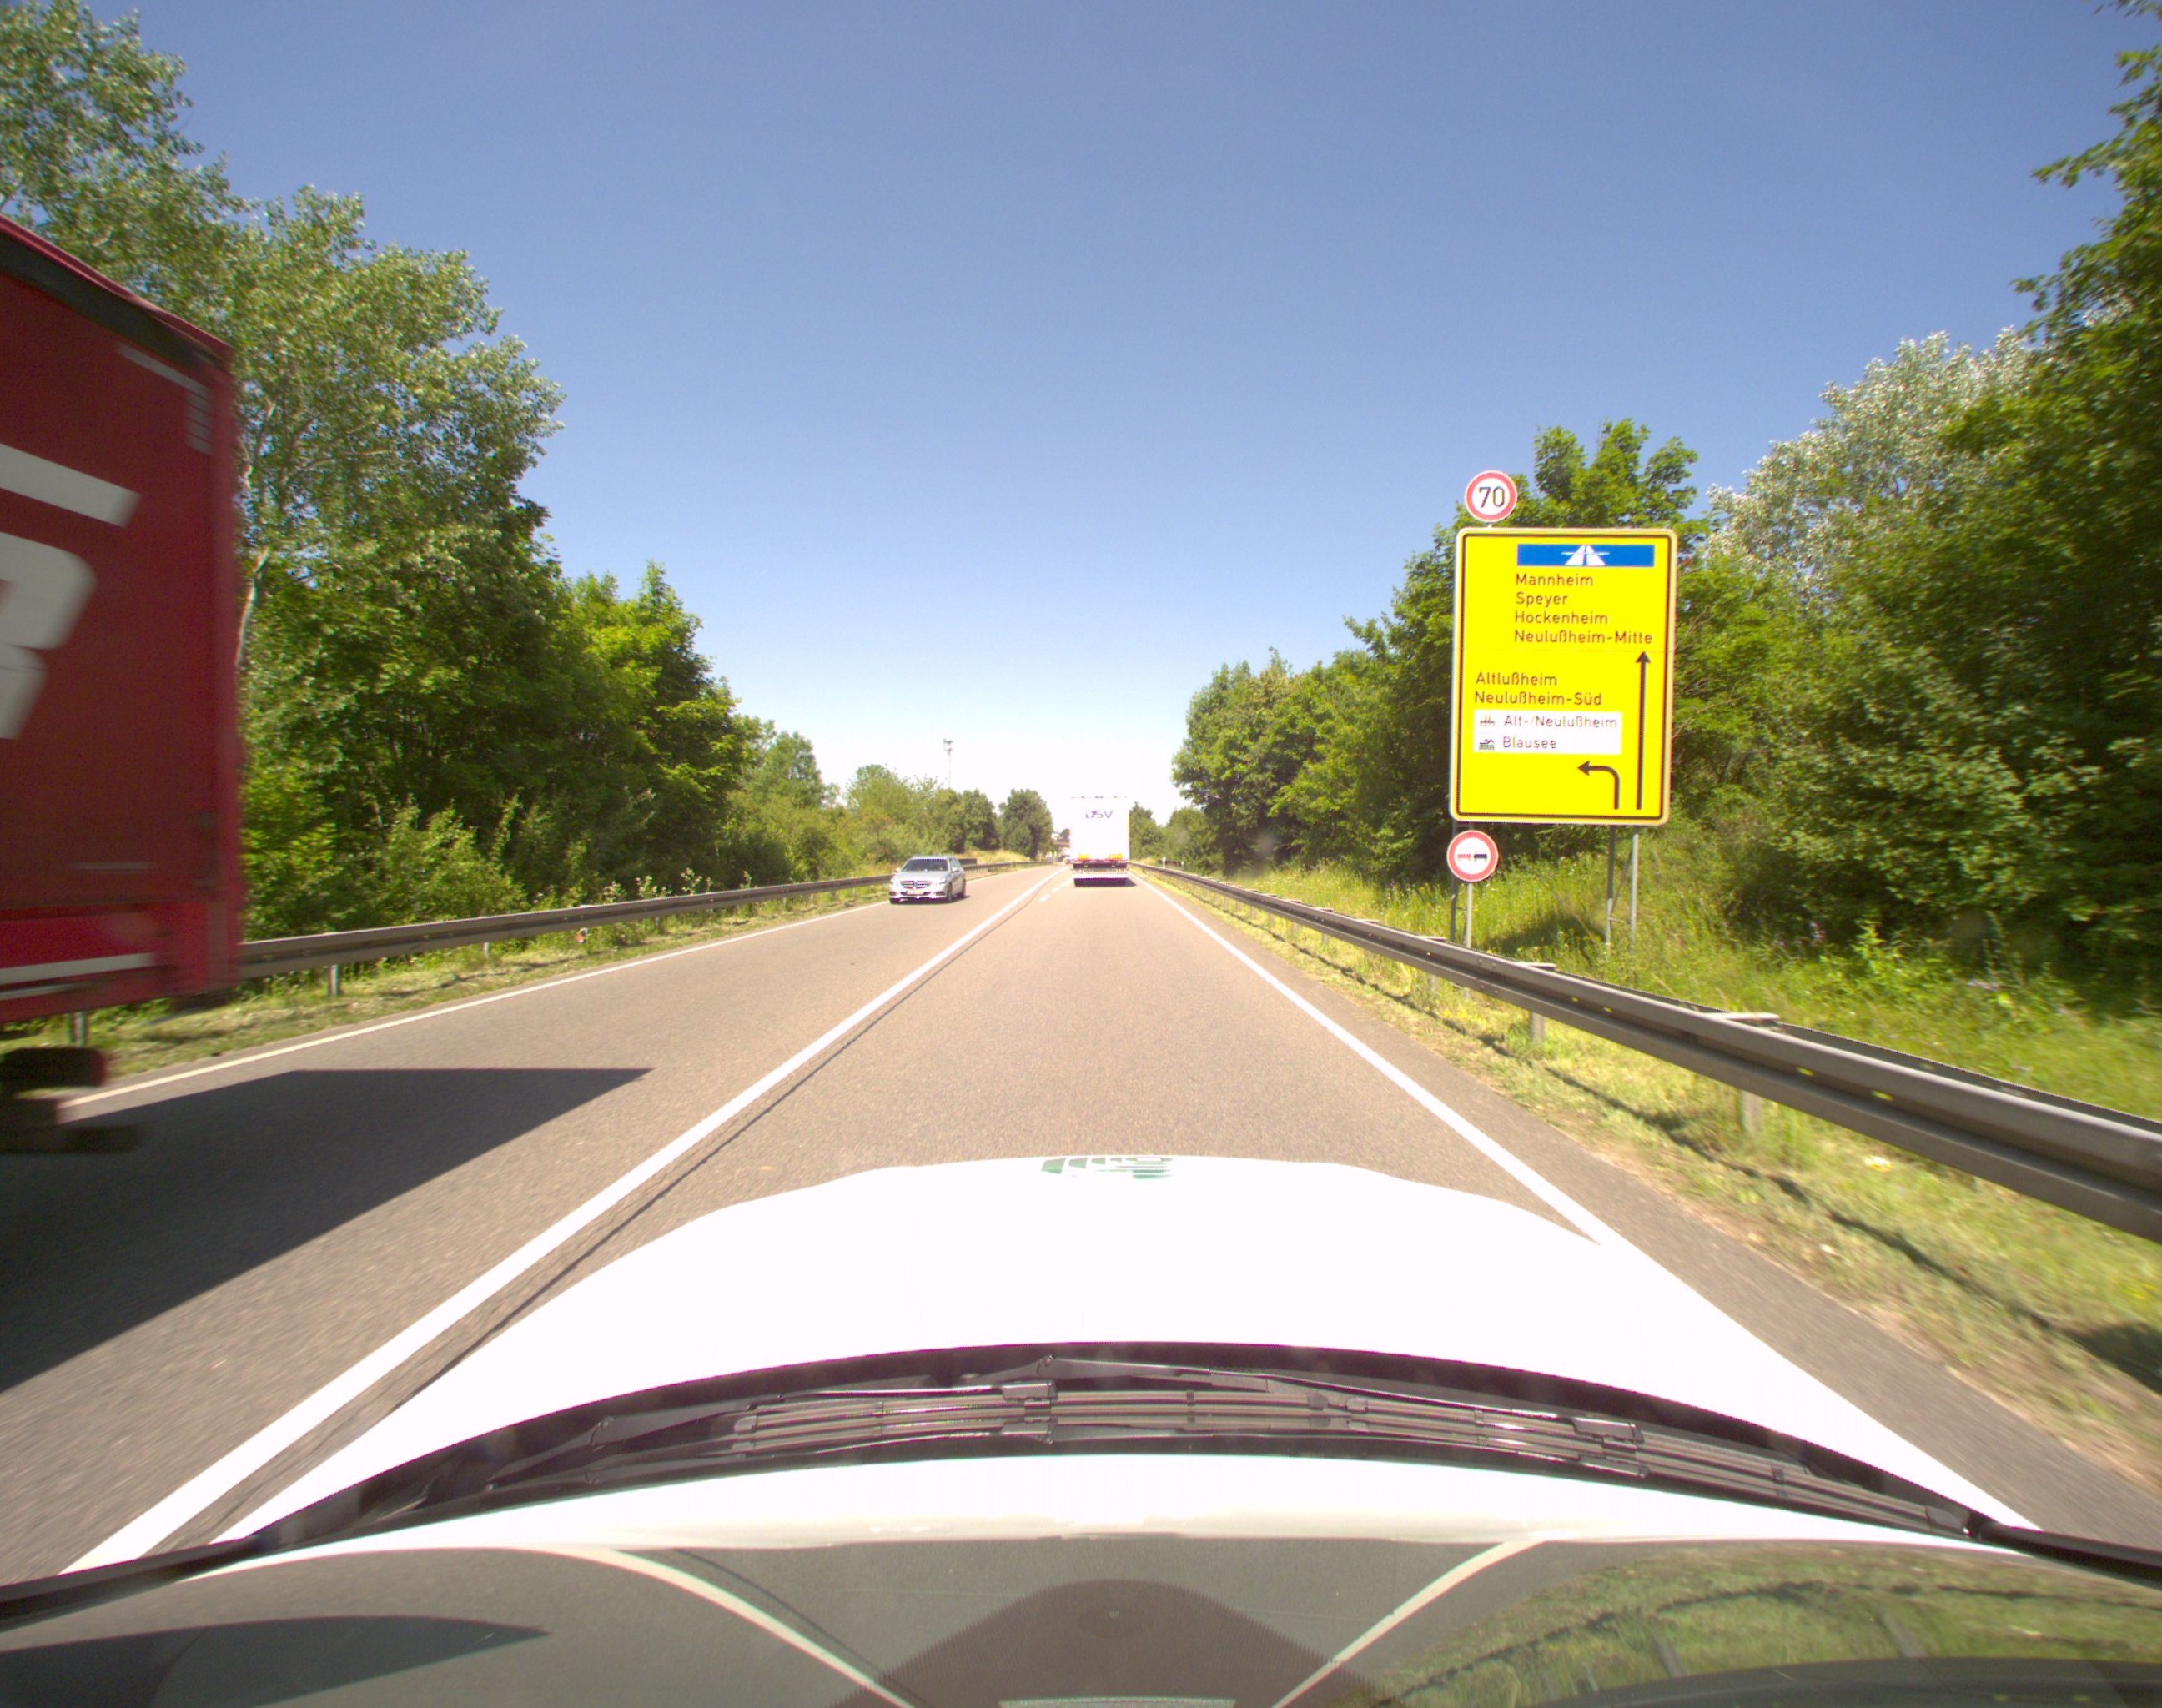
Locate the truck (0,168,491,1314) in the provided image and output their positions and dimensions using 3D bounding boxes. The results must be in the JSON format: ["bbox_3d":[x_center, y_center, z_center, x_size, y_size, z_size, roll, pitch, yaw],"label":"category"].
[{"bbox_3d":[-5.106,-0.351,0.269,3.181,3.700,9.007,0,0,1],"label":"truck"}]

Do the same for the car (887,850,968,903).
[{"bbox_3d":[-4.854,0.667,26.314,1.812,1.546,4.525,0,0,-1],"label":"car"}]

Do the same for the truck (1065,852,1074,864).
[{"bbox_3d":[-3.529,1.157,255.074,2.345,3.750,12.624,0,0,0],"label":"truck"}]

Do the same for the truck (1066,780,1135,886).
[{"bbox_3d":[0.983,-0.841,40.072,2.939,4.569,9.865,0,-1,2],"label":"truck"}]
